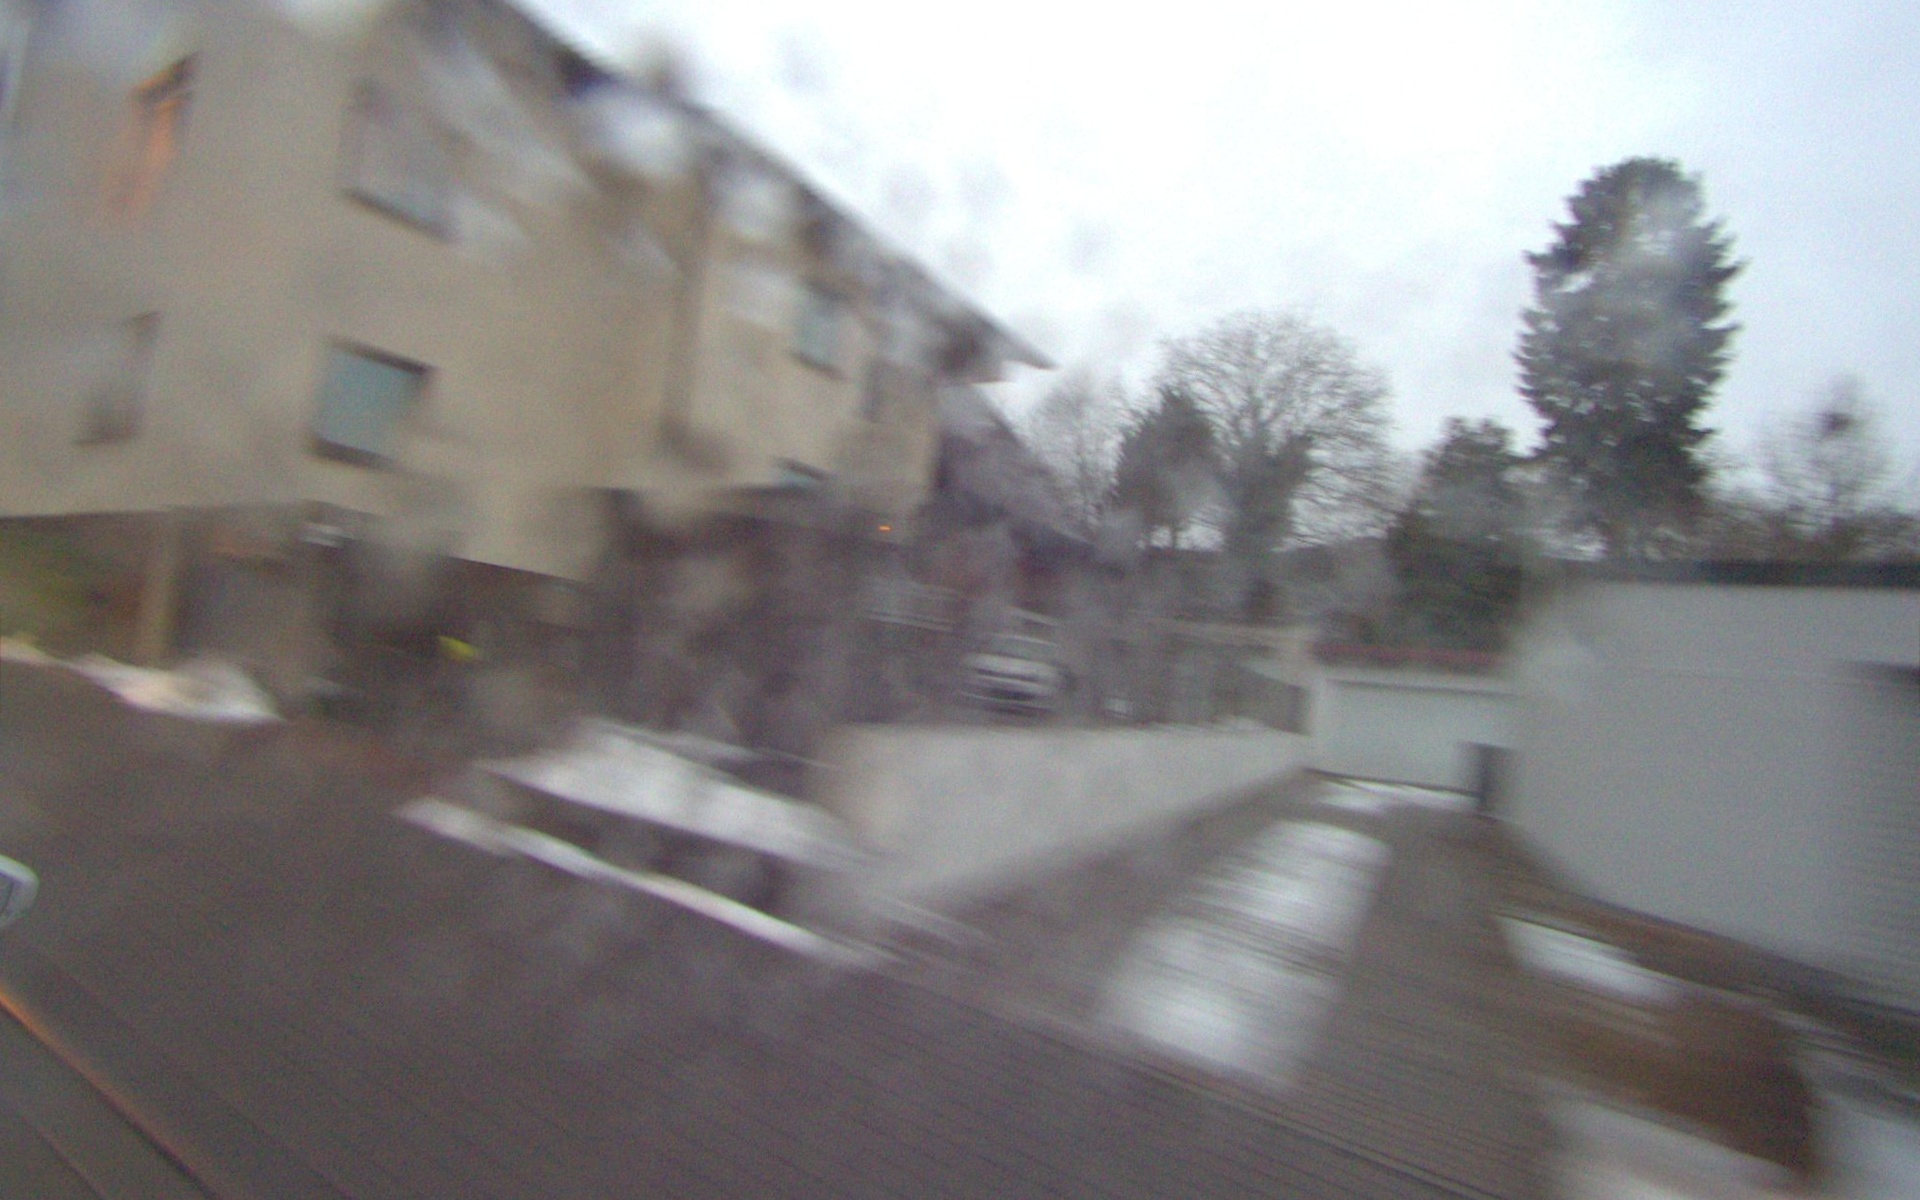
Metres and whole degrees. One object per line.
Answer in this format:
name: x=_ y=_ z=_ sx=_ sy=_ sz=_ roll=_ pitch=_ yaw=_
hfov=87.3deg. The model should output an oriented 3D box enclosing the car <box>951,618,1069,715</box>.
car: x=1.047 y=1.309 z=18.979 sx=1.703 sy=1.421 sz=4.009 roll=7 pitch=-4 yaw=9
